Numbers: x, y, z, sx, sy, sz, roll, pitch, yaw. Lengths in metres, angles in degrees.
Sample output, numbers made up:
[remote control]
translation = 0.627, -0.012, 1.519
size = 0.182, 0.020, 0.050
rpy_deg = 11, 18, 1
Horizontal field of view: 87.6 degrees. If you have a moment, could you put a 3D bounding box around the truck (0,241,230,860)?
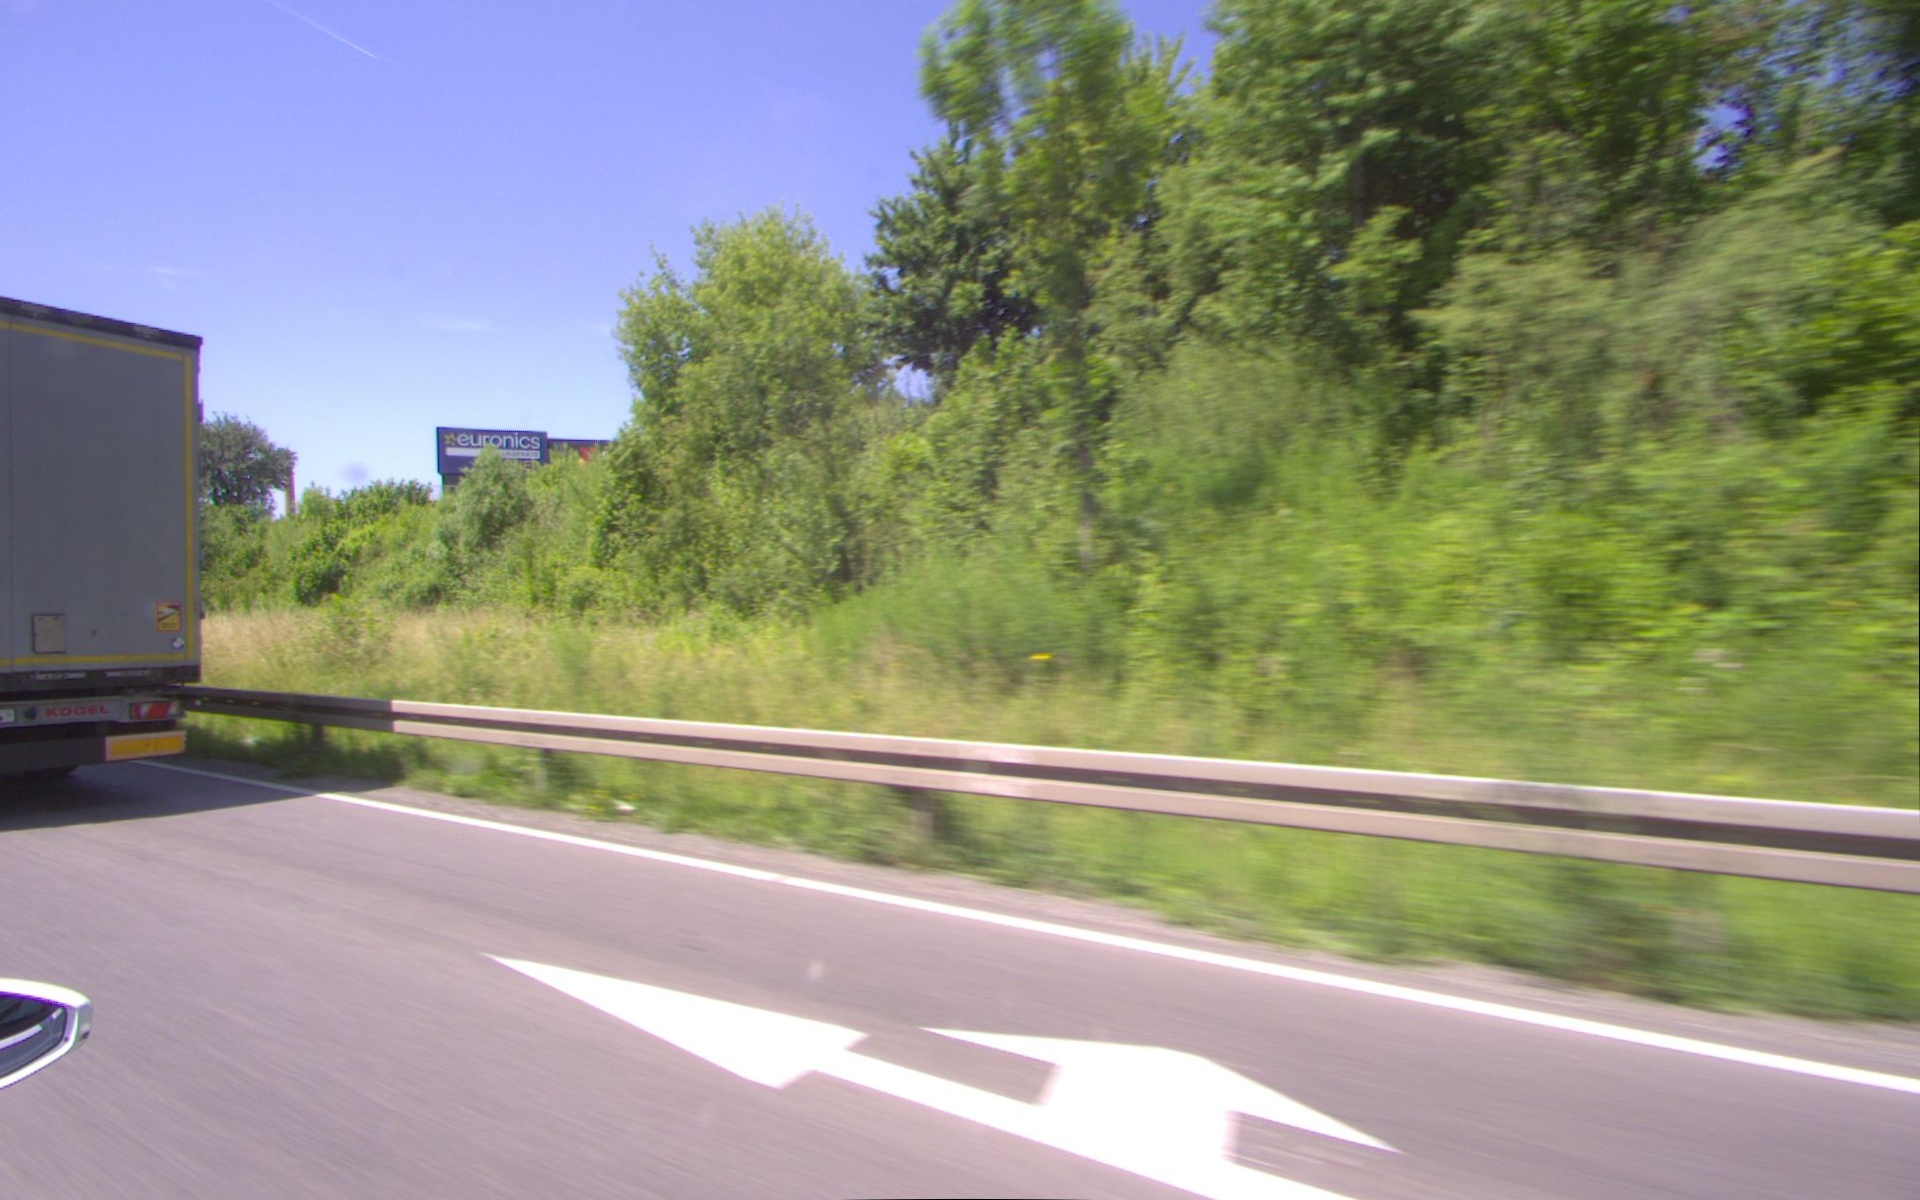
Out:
[truck]
translation = -14.099, -0.119, 12.145
size = 16.422, 4.698, 2.750
rpy_deg = -2, -2, 33
